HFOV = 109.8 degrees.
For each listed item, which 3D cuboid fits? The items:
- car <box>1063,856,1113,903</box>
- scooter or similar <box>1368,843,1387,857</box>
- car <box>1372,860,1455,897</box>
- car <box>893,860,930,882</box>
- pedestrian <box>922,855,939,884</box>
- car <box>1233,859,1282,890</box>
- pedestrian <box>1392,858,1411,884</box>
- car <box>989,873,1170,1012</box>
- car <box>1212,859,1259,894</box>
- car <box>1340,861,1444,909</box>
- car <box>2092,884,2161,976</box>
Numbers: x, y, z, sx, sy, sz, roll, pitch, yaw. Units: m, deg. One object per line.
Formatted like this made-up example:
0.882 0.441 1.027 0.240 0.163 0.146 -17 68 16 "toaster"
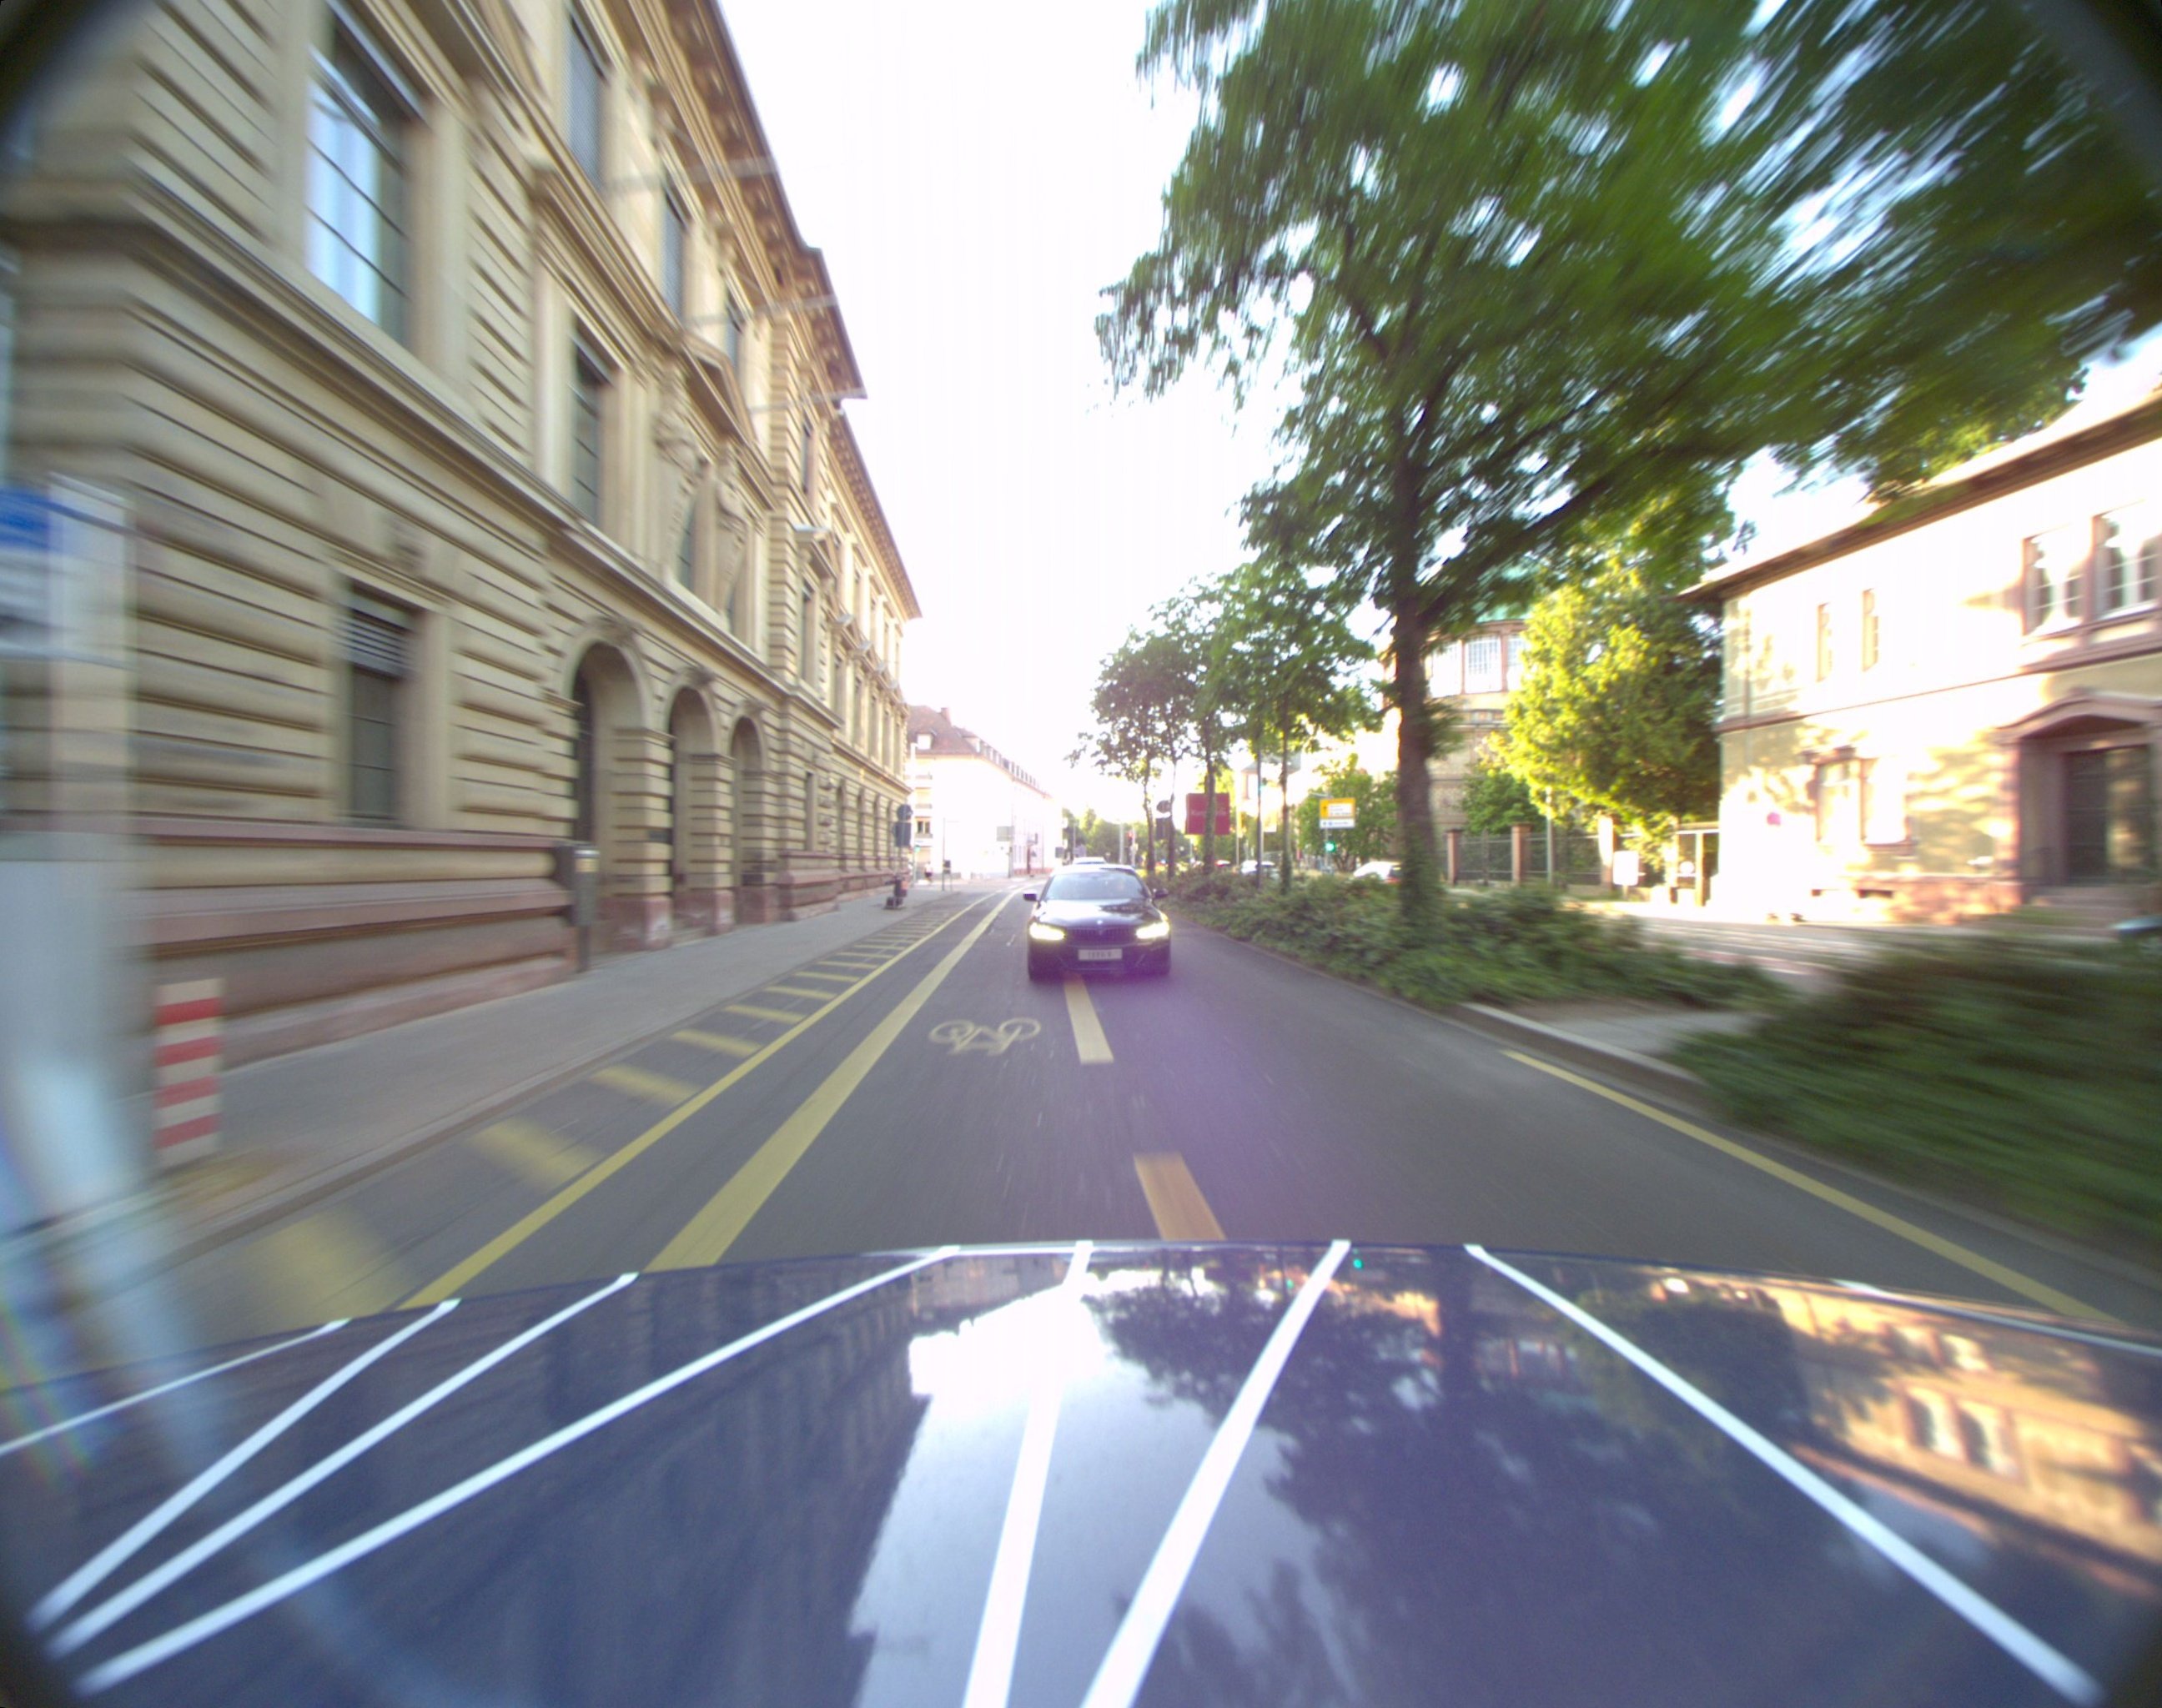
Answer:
0.319 0.947 30.455 1.838 1.673 4.224 -2 0 1 "car"
17.637 -0.236 45.195 0.679 0.773 1.028 0 0 -2 "scooter or similar"
15.370 1.093 35.414 1.749 1.538 4.368 -1 0 -3 "car"
-14.046 1.357 63.170 1.998 1.739 4.476 0 0 2 "car"
-10.538 1.083 53.177 0.786 2.002 0.996 0 0 20 "pedestrian"
9.935 1.110 43.071 1.847 1.664 4.557 1 0 2 "car"
19.063 1.003 45.203 0.737 1.569 0.762 0 0 -1 "pedestrian"
0.187 1.028 10.665 1.963 1.378 4.783 -1 0 5 "car"
7.220 1.023 35.813 1.849 1.538 4.121 0 0 7 "car"
10.880 1.031 26.910 1.847 1.542 4.174 1 0 -2 "car"
17.015 1.145 10.152 1.685 1.343 3.885 1 0 -6 "car"
